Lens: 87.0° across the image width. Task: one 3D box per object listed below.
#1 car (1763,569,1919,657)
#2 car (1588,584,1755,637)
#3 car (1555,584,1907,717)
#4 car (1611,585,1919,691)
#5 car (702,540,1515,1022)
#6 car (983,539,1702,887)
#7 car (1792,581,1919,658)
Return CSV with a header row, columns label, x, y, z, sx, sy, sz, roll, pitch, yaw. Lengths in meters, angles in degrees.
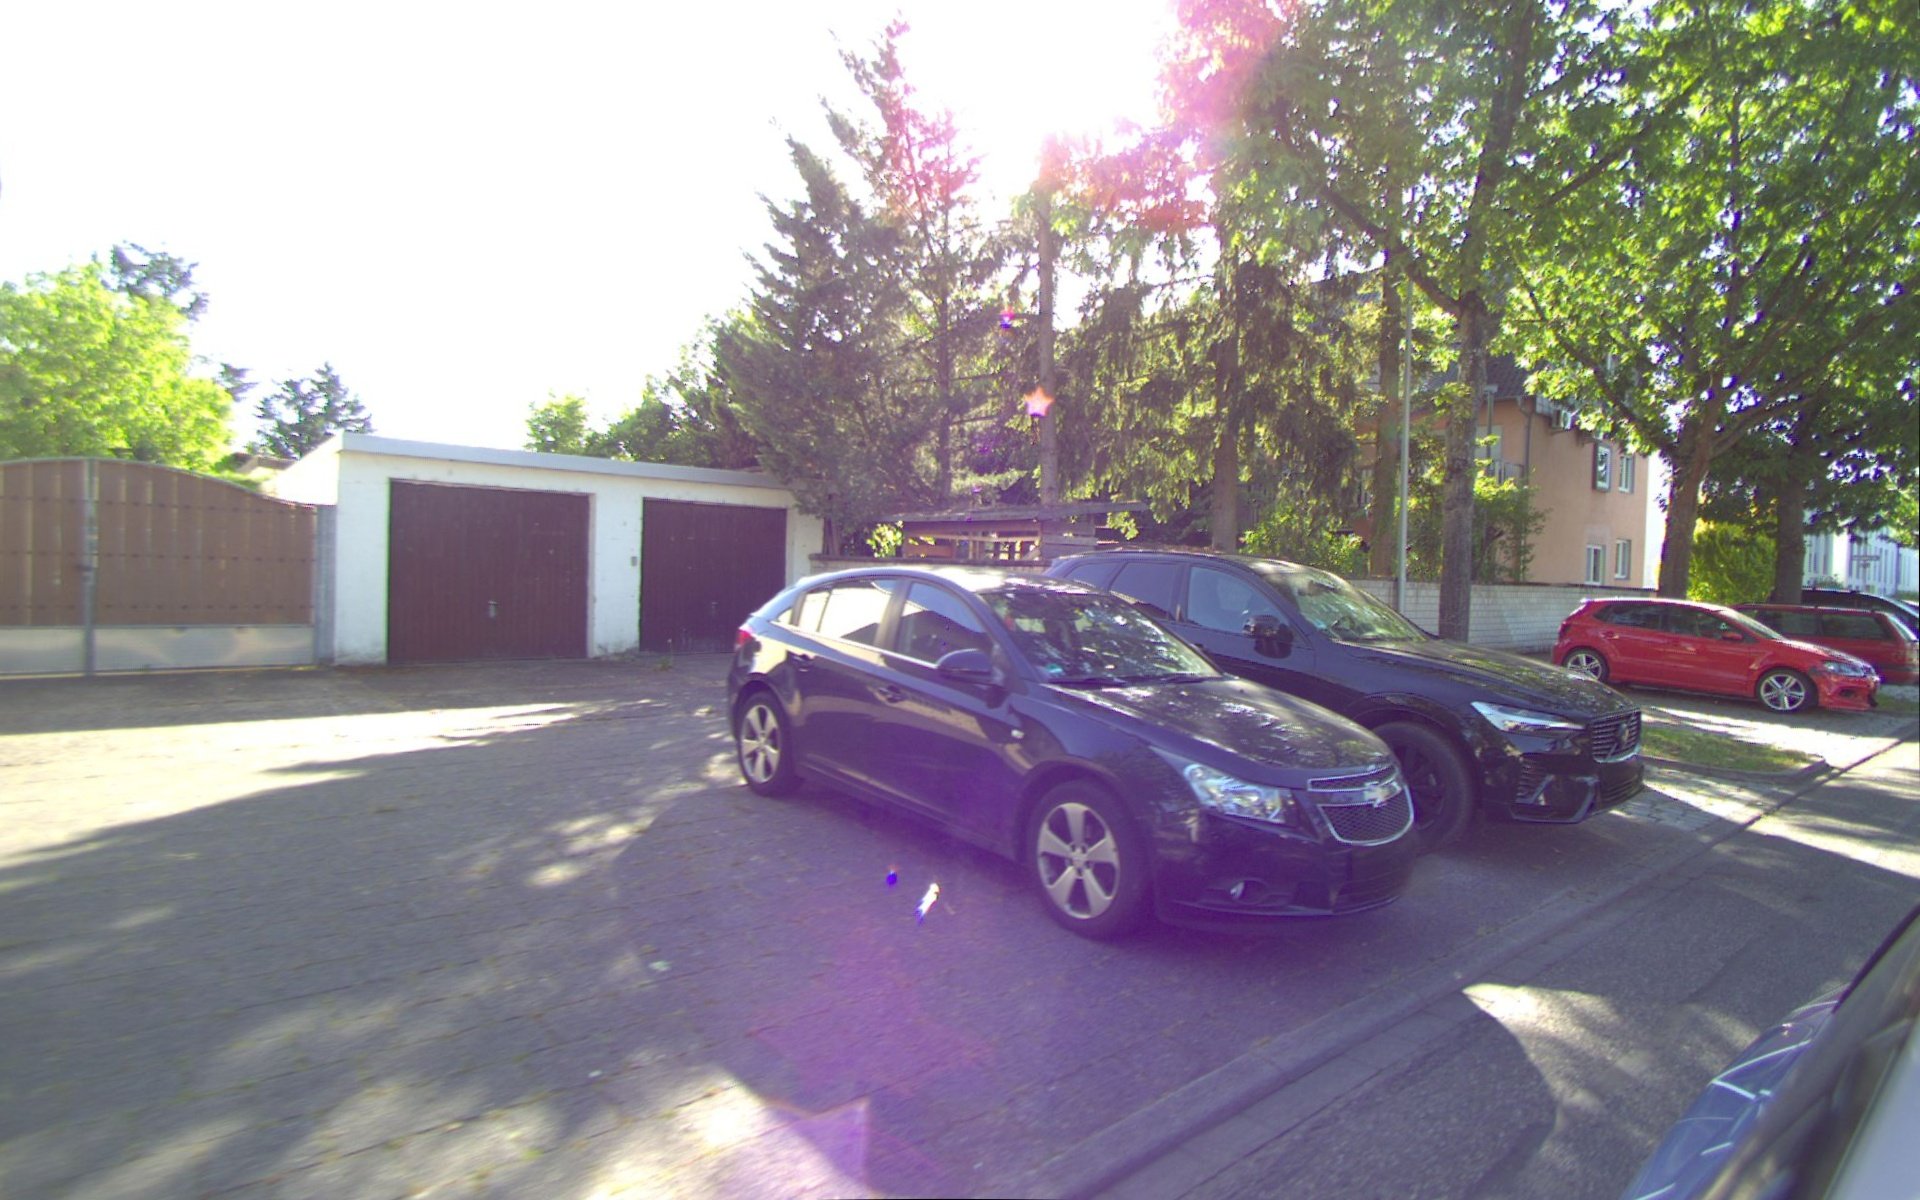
label,x,y,z,sx,sy,sz,roll,pitch,yaw
car,21.565,0.314,23.495,1.757,1.803,4.224,0,4,-39
car,28.522,0.354,40.750,1.880,1.837,5.202,-1,3,-42
car,11.188,0.610,14.908,1.724,1.502,3.788,-1,4,-39
car,14.600,0.577,18.180,1.805,1.463,4.515,0,3,-39
car,0.399,0.523,5.653,1.808,1.548,4.329,0,3,-41
car,2.380,0.463,7.418,1.806,1.666,4.585,0,4,-40
car,23.933,0.542,25.294,1.846,1.699,4.515,0,5,-40
